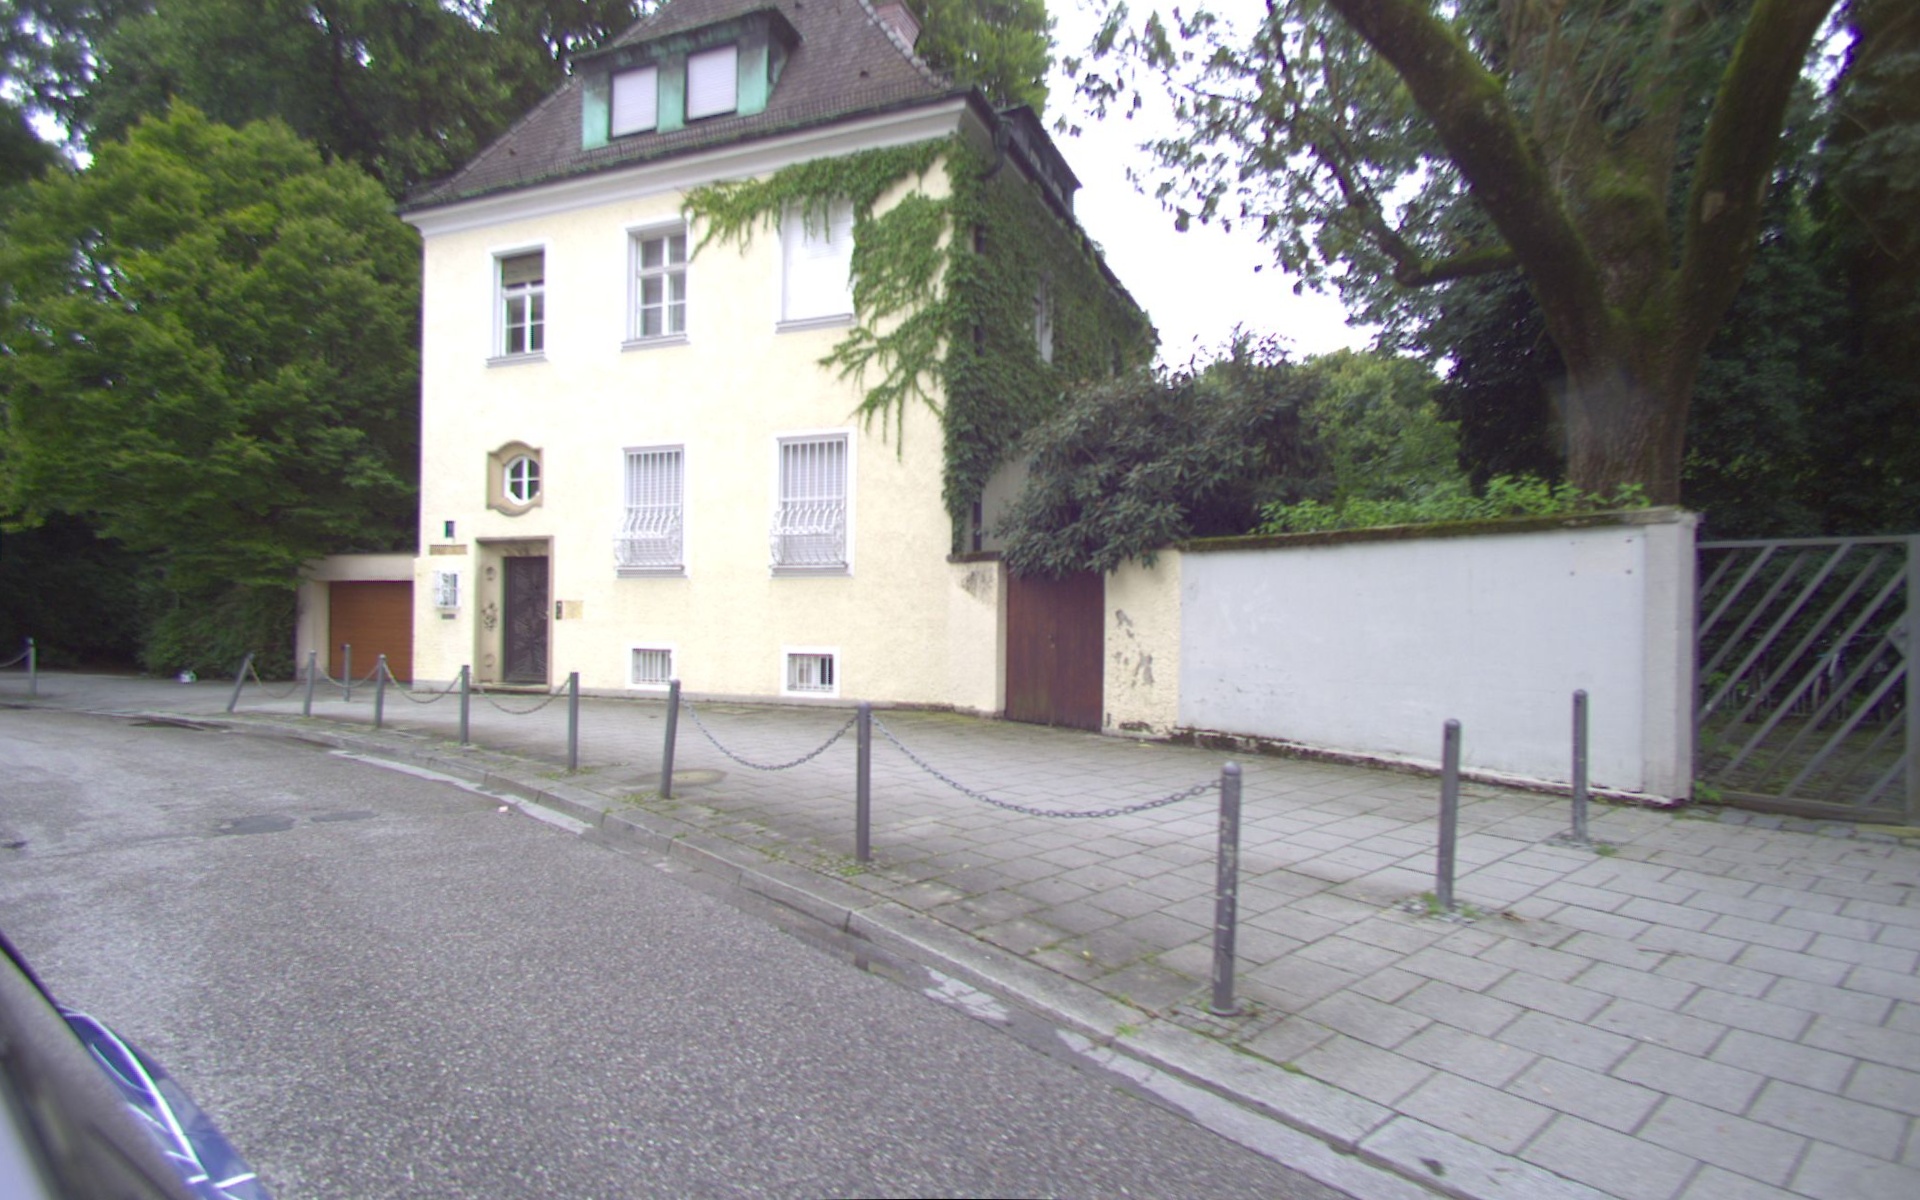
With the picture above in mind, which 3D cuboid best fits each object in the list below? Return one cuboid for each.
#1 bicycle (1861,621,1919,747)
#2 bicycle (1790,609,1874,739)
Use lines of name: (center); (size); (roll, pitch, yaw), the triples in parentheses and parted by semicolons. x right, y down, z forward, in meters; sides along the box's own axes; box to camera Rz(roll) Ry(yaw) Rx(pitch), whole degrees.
bicycle: (9.862, 0.828, 10.584); (0.536, 1.194, 2.268); (0, -1, 45)
bicycle: (9.573, 0.764, 11.078); (0.536, 1.293, 2.268); (0, -1, 45)
